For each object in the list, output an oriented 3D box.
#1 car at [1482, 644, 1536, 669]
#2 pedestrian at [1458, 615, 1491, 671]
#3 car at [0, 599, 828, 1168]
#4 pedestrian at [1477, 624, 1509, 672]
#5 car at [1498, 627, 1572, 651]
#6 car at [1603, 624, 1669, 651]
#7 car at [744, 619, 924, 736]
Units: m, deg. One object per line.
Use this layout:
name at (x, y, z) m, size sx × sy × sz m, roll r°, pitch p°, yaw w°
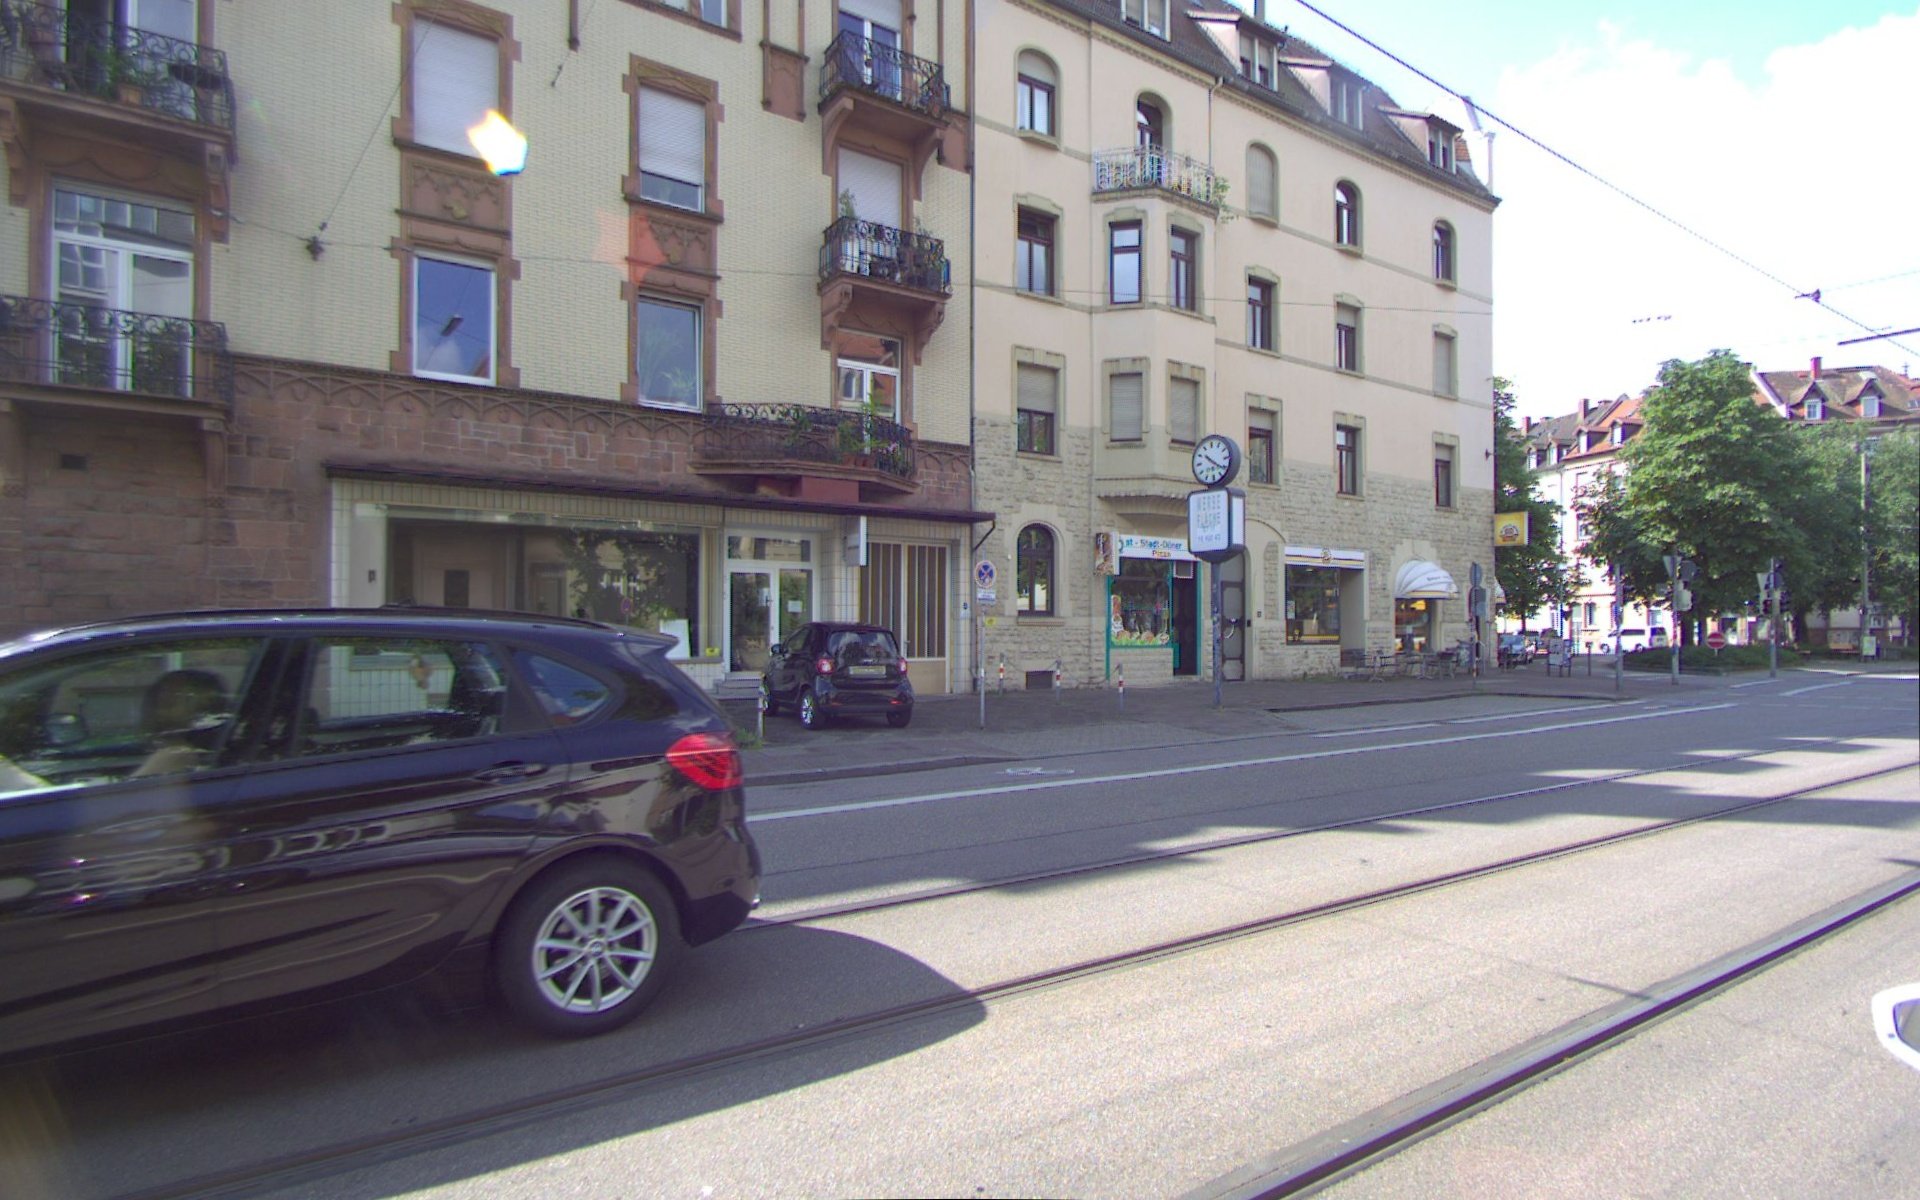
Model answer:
car at (28.147, 2.879, 51.464) m, size 1.654 × 1.198 × 3.980 m, roll -1°, pitch -2°, yaw 41°
pedestrian at (16.581, 1.367, 32.363) m, size 0.794 × 1.777 × 0.677 m, roll 1°, pitch -2°, yaw -39°
car at (-2.686, 0.798, 3.734) m, size 4.026 × 1.538 × 1.745 m, roll 1°, pitch -2°, yaw -34°
pedestrian at (19.033, 1.698, 35.858) m, size 0.690 × 1.706 × 0.750 m, roll 1°, pitch -1°, yaw -21°
car at (39.424, 2.666, 68.932) m, size 1.976 × 1.617 × 3.970 m, roll 1°, pitch -2°, yaw -29°
car at (50.094, 2.784, 74.540) m, size 1.962 × 1.929 × 3.997 m, roll 0°, pitch -2°, yaw -5°
car at (-2.071, 1.120, 15.835) m, size 1.716 × 1.505 × 3.162 m, roll 1°, pitch 1°, yaw -30°
